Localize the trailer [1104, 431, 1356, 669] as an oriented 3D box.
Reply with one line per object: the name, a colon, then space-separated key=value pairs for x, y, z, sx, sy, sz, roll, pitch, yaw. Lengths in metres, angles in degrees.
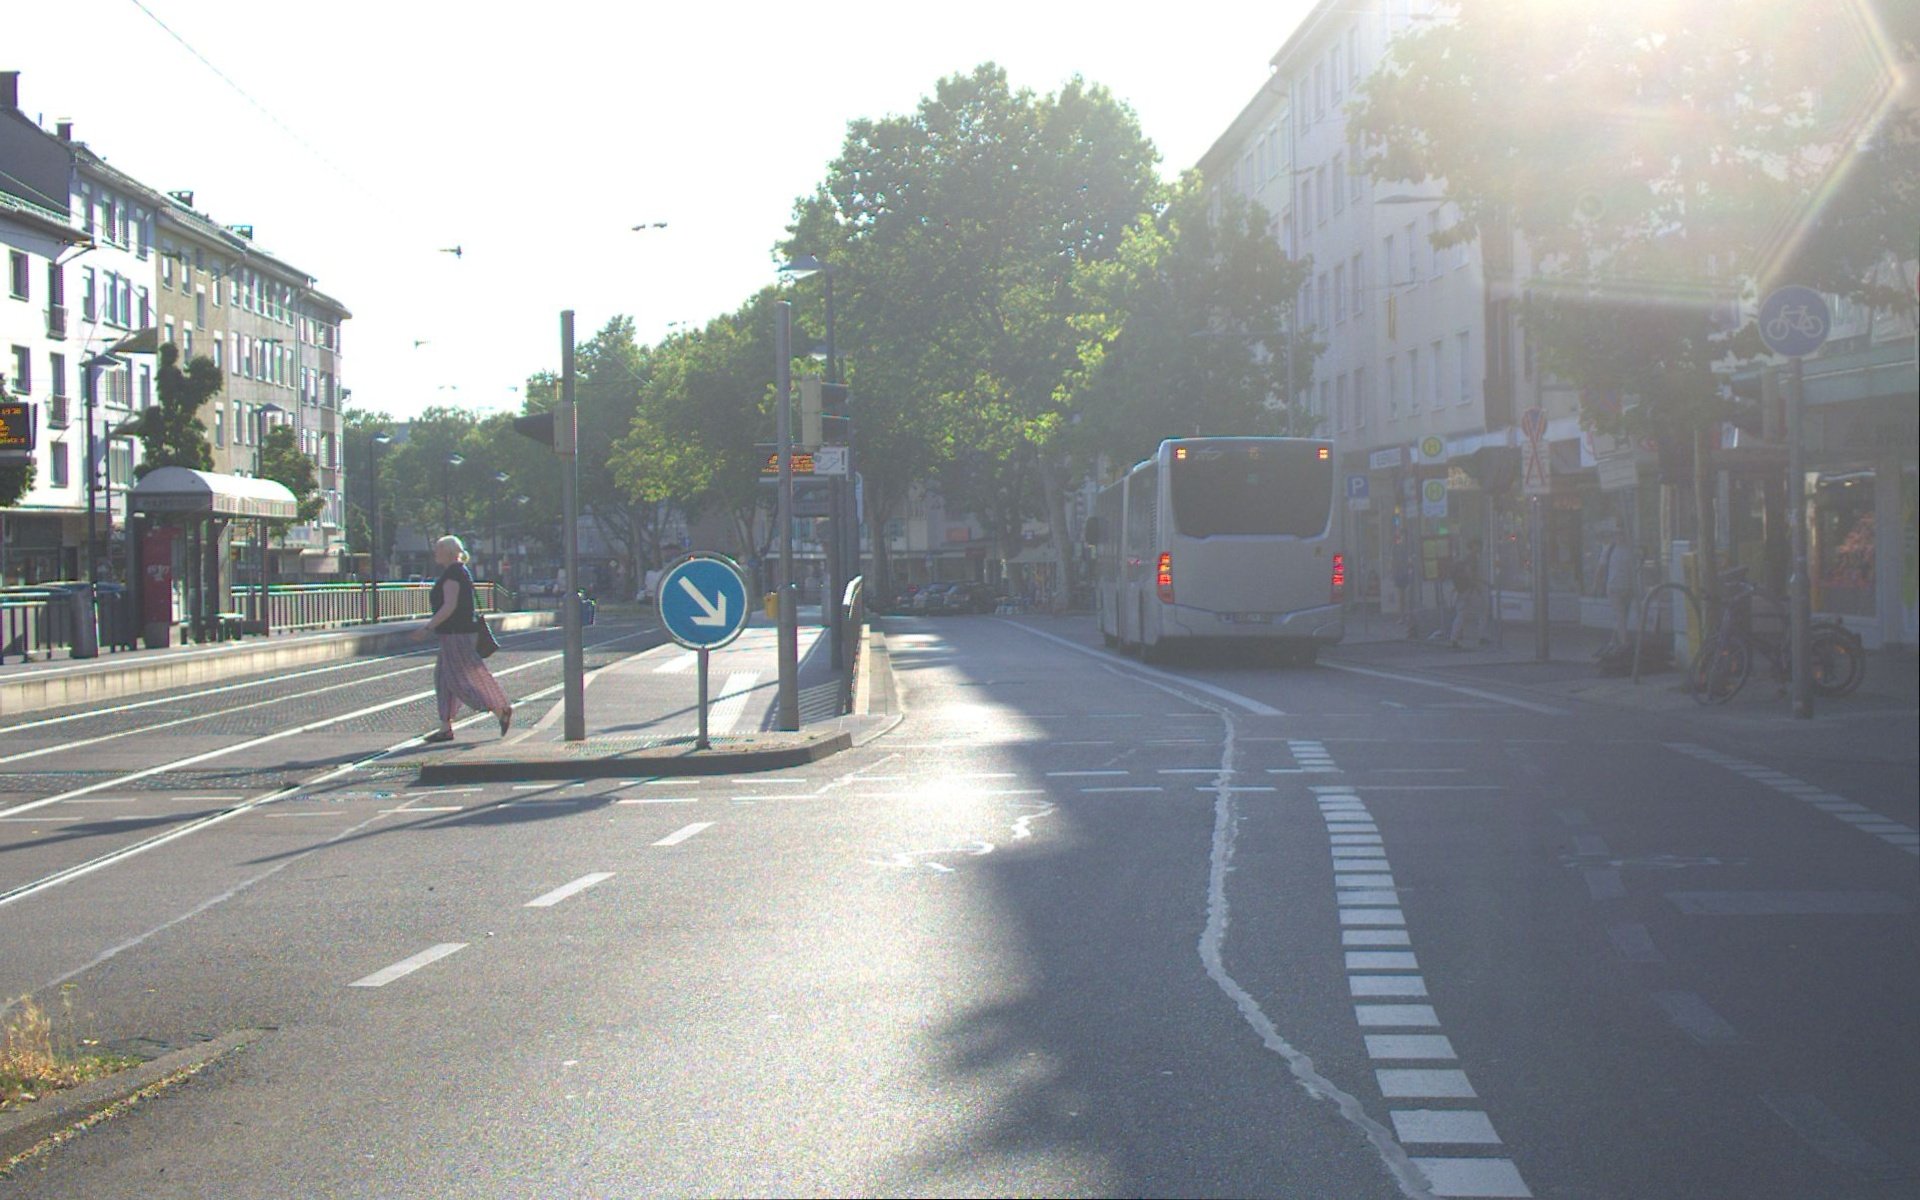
trailer: x=3.764 y=-0.718 z=49.975 sx=2.812 sy=3.100 sz=8.795 roll=1 pitch=1 yaw=-1

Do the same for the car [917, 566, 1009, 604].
car: x=0.138 y=-0.700 z=161.327 sx=3.889 sy=1.693 sz=1.833 roll=-2 pitch=1 yaw=-29

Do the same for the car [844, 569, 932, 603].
car: x=-3.473 y=-0.689 z=166.400 sx=3.889 sy=1.591 sz=1.691 roll=-2 pitch=1 yaw=-29

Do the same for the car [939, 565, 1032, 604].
car: x=1.183 y=-0.712 z=158.724 sx=3.889 sy=1.693 sz=1.833 roll=-2 pitch=1 yaw=-29

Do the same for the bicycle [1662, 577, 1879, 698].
bicycle: x=7.375 y=0.335 z=31.324 sx=1.772 sy=1.018 sz=0.694 roll=-2 pitch=1 yaw=-1

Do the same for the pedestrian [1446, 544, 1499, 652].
pedestrian: x=7.769 y=-0.034 z=52.147 sx=0.676 sy=1.622 sz=0.655 roll=1 pitch=1 yaw=0

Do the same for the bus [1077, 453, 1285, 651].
bus: x=3.652 y=-0.817 z=58.923 sx=2.812 sy=3.091 sz=9.095 roll=1 pitch=1 yaw=-1

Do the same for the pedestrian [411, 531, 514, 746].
pedestrian: x=-4.209 y=0.320 z=29.107 sx=0.680 sy=1.764 sz=0.687 roll=-3 pitch=1 yaw=0

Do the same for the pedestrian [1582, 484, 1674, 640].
pedestrian: x=8.733 y=-0.502 z=44.985 sx=0.953 sy=2.007 sz=0.917 roll=1 pitch=1 yaw=-2

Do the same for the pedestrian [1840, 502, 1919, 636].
pedestrian: x=14.002 y=-0.473 z=51.941 sx=0.988 sy=2.007 sz=0.929 roll=-2 pitch=1 yaw=-38
